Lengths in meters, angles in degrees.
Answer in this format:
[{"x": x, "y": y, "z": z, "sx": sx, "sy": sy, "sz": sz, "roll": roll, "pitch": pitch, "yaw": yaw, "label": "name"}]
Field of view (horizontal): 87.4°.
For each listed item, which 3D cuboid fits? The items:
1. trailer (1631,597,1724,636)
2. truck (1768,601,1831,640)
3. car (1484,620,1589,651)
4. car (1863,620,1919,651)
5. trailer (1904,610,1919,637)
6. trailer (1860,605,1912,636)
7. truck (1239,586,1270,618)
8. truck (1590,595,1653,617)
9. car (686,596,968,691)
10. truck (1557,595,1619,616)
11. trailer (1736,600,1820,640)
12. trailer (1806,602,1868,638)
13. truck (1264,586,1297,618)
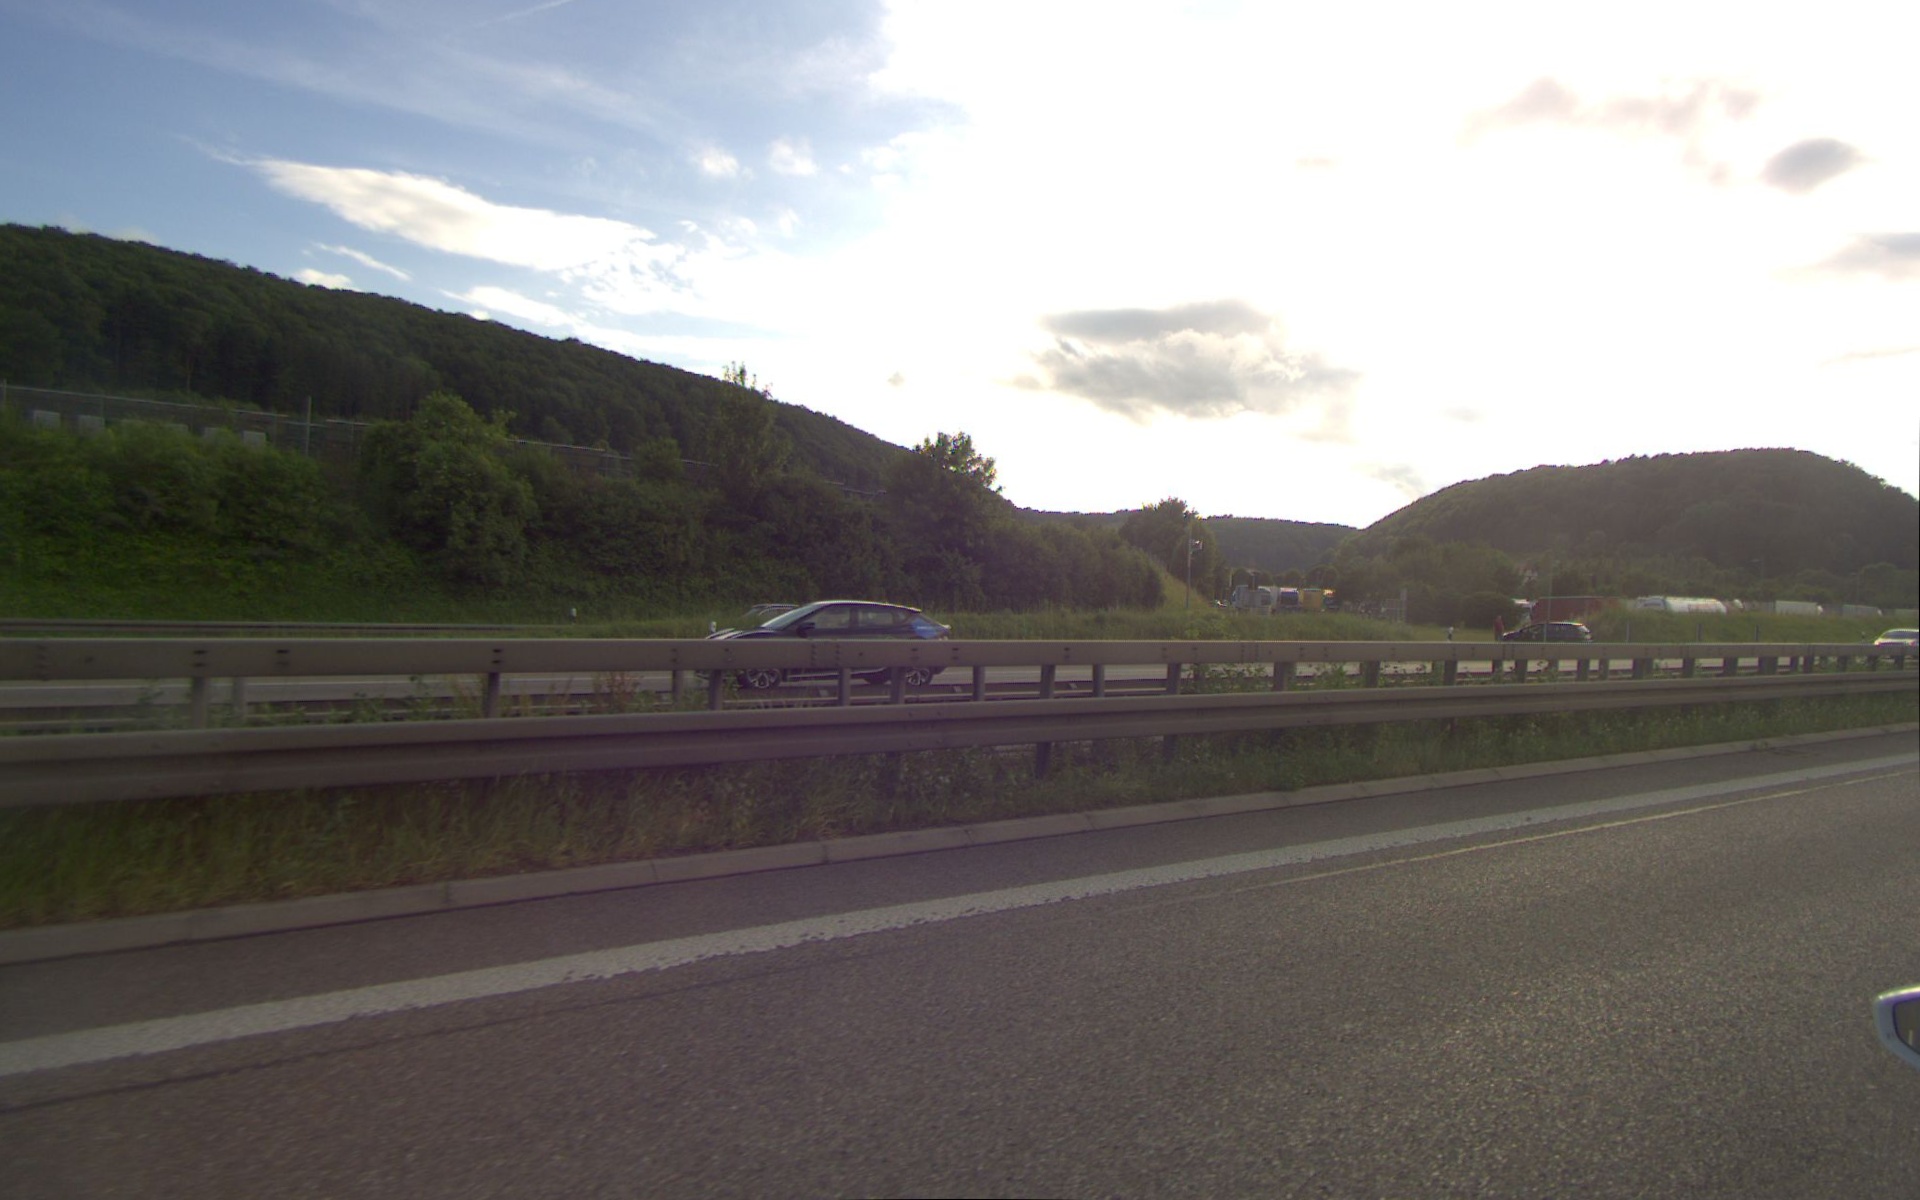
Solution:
[{"x": 61.343, "y": 1.455, "z": 85.716, "sx": 12.143, "sy": 2.891, "sz": 2.562, "roll": 3, "pitch": -1, "yaw": -35, "label": "trailer"}, {"x": 86.056, "y": 2.166, "z": 102.902, "sx": 8.406, "sy": 3.739, "sz": 2.863, "roll": 2, "pitch": -2, "yaw": -34, "label": "truck"}, {"x": 31.183, "y": 1.892, "z": 54.469, "sx": 1.983, "sy": 1.572, "sz": 4.567, "roll": 2, "pitch": -1, "yaw": -39, "label": "car"}, {"x": 48.390, "y": 1.806, "z": 51.624, "sx": 4.646, "sy": 1.517, "sz": 1.980, "roll": 2, "pitch": -1, "yaw": -36, "label": "car"}, {"x": 133.614, "y": 3.287, "z": 138.704, "sx": 10.272, "sy": 3.745, "sz": 2.858, "roll": 1, "pitch": -1, "yaw": -36, "label": "trailer"}, {"x": 115.821, "y": 2.608, "z": 125.561, "sx": 10.272, "sy": 3.745, "sz": 2.858, "roll": 1, "pitch": -1, "yaw": -36, "label": "trailer"}, {"x": 38.565, "y": 0.358, "z": 131.870, "sx": 2.535, "sy": 3.907, "sz": 11.388, "roll": 2, "pitch": -1, "yaw": 10, "label": "truck"}, {"x": 71.825, "y": 0.662, "z": 109.219, "sx": 2.841, "sy": 2.256, "sz": 7.313, "roll": 2, "pitch": -1, "yaw": 9, "label": "truck"}, {"x": -2.329, "y": 0.791, "z": 18.081, "sx": 4.640, "sy": 1.516, "sz": 1.983, "roll": 2, "pitch": -2, "yaw": -32, "label": "car"}, {"x": 66.518, "y": 0.636, "z": 106.537, "sx": 2.841, "sy": 2.040, "sz": 7.314, "roll": 2, "pitch": -1, "yaw": 9, "label": "truck"}, {"x": 81.110, "y": 2.019, "z": 99.469, "sx": 13.537, "sy": 3.745, "sz": 2.859, "roll": 2, "pitch": -1, "yaw": -35, "label": "trailer"}, {"x": 98.845, "y": 2.367, "z": 113.150, "sx": 13.557, "sy": 3.744, "sz": 2.855, "roll": 3, "pitch": -3, "yaw": -38, "label": "trailer"}, {"x": 42.301, "y": 0.324, "z": 132.928, "sx": 2.535, "sy": 3.907, "sz": 11.388, "roll": 2, "pitch": -1, "yaw": 10, "label": "truck"}]
